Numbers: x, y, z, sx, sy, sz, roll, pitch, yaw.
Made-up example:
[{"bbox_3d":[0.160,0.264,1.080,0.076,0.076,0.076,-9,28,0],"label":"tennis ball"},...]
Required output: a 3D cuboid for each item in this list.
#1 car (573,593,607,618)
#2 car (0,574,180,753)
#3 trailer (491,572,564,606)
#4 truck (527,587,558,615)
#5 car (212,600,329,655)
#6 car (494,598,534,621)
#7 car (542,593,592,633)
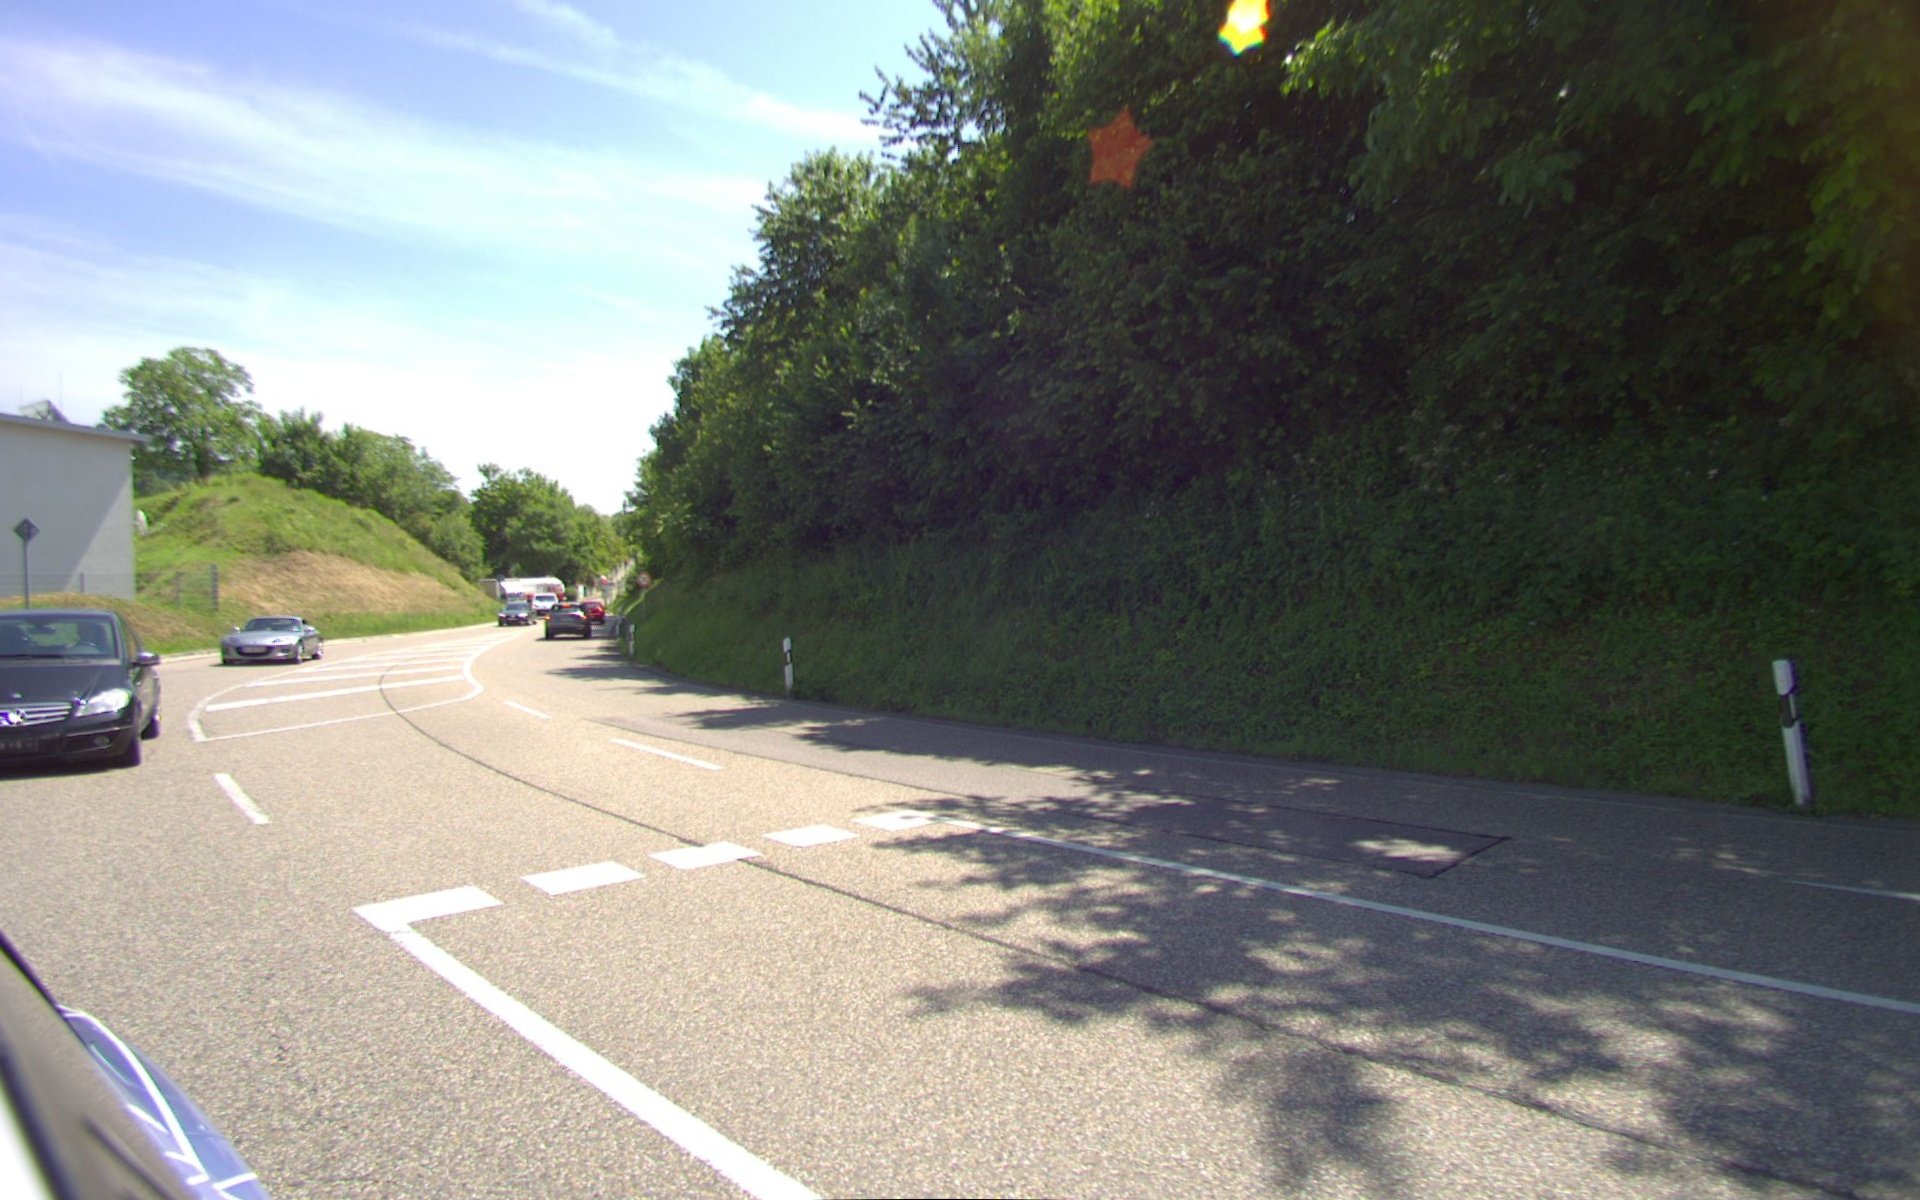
[{"bbox_3d":[-22.668,0.286,62.132,1.725,1.459,4.012,0,1,-17],"label":"car"},{"bbox_3d":[-9.581,0.594,10.672,1.766,1.591,3.810,2,-2,-32],"label":"car"},{"bbox_3d":[-45.505,-1.177,106.249,11.141,3.398,2.605,1,2,42],"label":"trailer"},{"bbox_3d":[-32.093,0.054,77.844,2.037,2.028,5.262,-1,1,-21],"label":"truck"},{"bbox_3d":[-18.227,0.705,26.900,1.620,1.332,3.449,1,0,-17],"label":"car"},{"bbox_3d":[-27.278,0.565,61.991,1.727,1.298,4.158,-1,1,-16],"label":"car"},{"bbox_3d":[-17.120,0.516,44.249,1.766,1.617,4.193,-1,1,-18],"label":"car"}]
